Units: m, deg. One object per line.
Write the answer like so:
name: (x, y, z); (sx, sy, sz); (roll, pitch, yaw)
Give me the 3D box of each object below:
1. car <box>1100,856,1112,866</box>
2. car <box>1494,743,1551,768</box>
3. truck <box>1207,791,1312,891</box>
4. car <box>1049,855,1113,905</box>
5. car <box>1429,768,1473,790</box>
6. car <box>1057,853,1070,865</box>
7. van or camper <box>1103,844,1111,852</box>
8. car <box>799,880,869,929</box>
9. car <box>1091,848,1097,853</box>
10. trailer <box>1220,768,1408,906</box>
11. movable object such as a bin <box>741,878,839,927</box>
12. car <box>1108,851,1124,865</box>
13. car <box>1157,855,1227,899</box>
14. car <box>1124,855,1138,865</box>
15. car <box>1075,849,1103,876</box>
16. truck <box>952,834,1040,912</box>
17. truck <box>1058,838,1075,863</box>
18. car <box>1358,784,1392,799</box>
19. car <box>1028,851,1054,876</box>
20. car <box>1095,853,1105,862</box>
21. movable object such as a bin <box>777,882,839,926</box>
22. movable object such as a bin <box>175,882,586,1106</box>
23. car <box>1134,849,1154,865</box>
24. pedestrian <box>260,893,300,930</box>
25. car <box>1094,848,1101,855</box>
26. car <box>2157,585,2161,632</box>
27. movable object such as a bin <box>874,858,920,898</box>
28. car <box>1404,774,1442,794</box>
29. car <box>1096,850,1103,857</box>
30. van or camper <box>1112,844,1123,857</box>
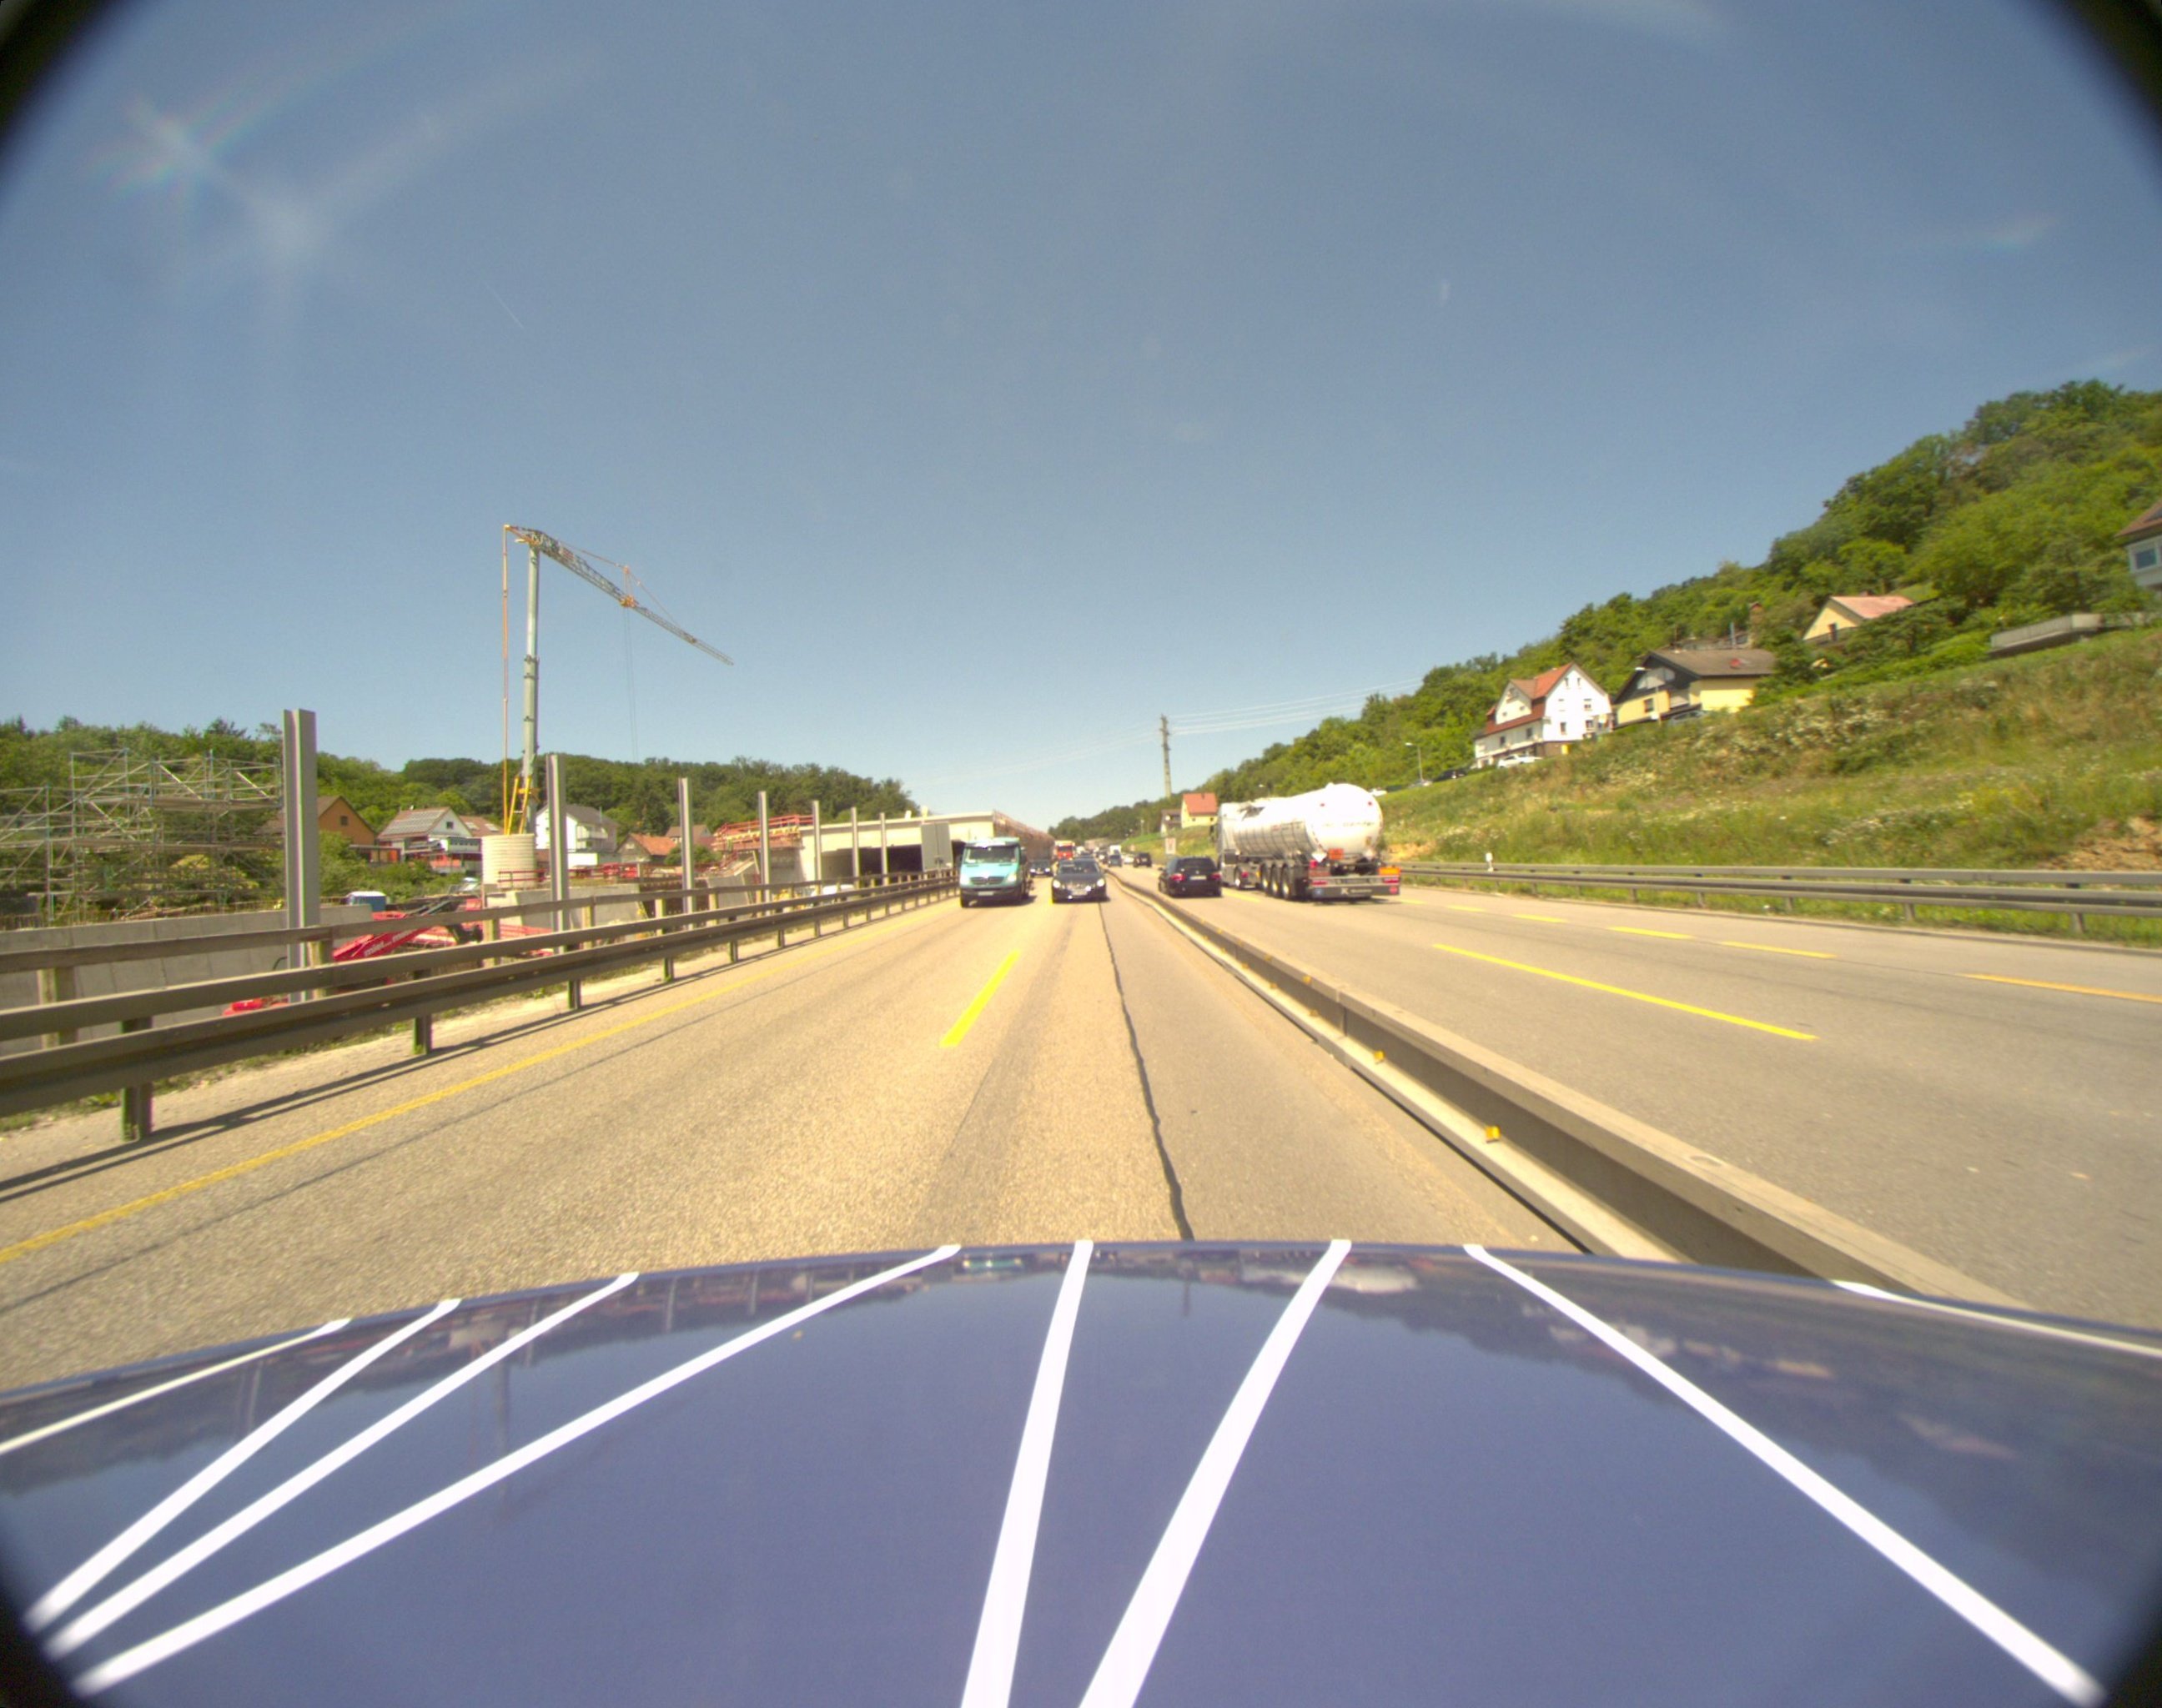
car: (4.027, 1.096, 124.090); (1.802, 1.458, 4.355); (-1, 0, 0)
car: (41.319, -9.176, 71.203); (1.999, 1.784, 5.008); (-2, 1, -6)
truck: (7.241, -0.491, 31.738); (2.786, 3.651, 6.276); (-2, 0, 0)
car: (0.041, 0.836, 26.595); (1.998, 1.441, 4.601); (-2, 1, 1)
car: (40.308, -8.155, 82.984); (2.077, 1.997, 4.969); (-2, 1, -5)
car: (-2.638, 0.755, 114.644); (1.883, 1.532, 4.280); (-2, 1, 0)
van or camper: (8.319, -1.908, 245.789); (2.145, 2.558, 6.564); (-3, 0, 0)
car: (-17.511, 3.516, 54.358); (2.149, 2.840, 7.023); (-2, 1, 4)
car: (4.228, -1.158, 244.470); (1.847, 1.467, 4.834); (-2, 0, 0)
trailer: (7.275, -0.454, 26.100); (2.723, 3.573, 11.793); (-2, 0, 0)
movable object such as a bin: (-25.253, 4.200, 65.939); (7.141, 2.883, 3.503); (-11, -2, 23)
car: (4.619, 0.491, 99.719); (1.850, 1.767, 4.881); (-2, 0, 0)
car: (3.894, 0.760, 27.466); (1.899, 1.406, 4.679); (-2, 0, 1)
car: (7.849, 0.919, 119.689); (1.808, 1.488, 4.599); (-2, 0, -1)
car: (0.650, 0.603, 58.038); (1.884, 1.805, 4.250); (-2, 1, 2)
truck: (-2.860, 0.512, 27.486); (2.139, 2.344, 7.431); (-2, 1, 1)
truck: (-2.537, -0.728, 135.204); (2.750, 4.222, 9.093); (-2, 1, 0)
car: (38.085, -8.100, 98.535); (2.000, 1.646, 4.548); (-2, 1, -9)
car: (-3.237, 0.773, 62.258); (1.885, 1.805, 4.249); (-2, 1, 0)
car: (3.566, 0.567, 142.933); (1.811, 1.630, 4.171); (-2, 0, 0)
movable object such as a bin: (-20.275, 3.659, 56.680); (2.149, 2.661, 5.500); (-2, 1, 5)
movable object such as a bin: (-19.922, 3.537, 23.059); (3.235, 4.716, 9.652); (-2, 1, 0)
car: (7.187, 0.365, 86.903); (1.832, 1.755, 4.496); (-1, 0, 0)
pedestrian: (-45.171, 3.245, 42.855); (1.140, 1.976, 0.972); (-2, 2, 4)
car: (4.536, -0.737, 212.652); (1.842, 1.817, 5.039); (-2, 0, 0)
car: (43.947, -9.694, 27.832); (2.185, 1.784, 4.760); (-2, 1, -6)
movable object such as a bin: (-21.093, 2.610, 87.648); (2.961, 4.040, 9.153); (-2, 1, 0)
car: (39.603, -8.112, 88.077); (1.999, 1.861, 4.427); (-2, 1, -5)
car: (4.401, -0.068, 181.008); (1.487, 1.496, 2.805); (-2, 0, 0)
van or camper: (8.559, -0.850, 178.052); (2.297, 3.048, 6.923); (-2, 0, 0)
